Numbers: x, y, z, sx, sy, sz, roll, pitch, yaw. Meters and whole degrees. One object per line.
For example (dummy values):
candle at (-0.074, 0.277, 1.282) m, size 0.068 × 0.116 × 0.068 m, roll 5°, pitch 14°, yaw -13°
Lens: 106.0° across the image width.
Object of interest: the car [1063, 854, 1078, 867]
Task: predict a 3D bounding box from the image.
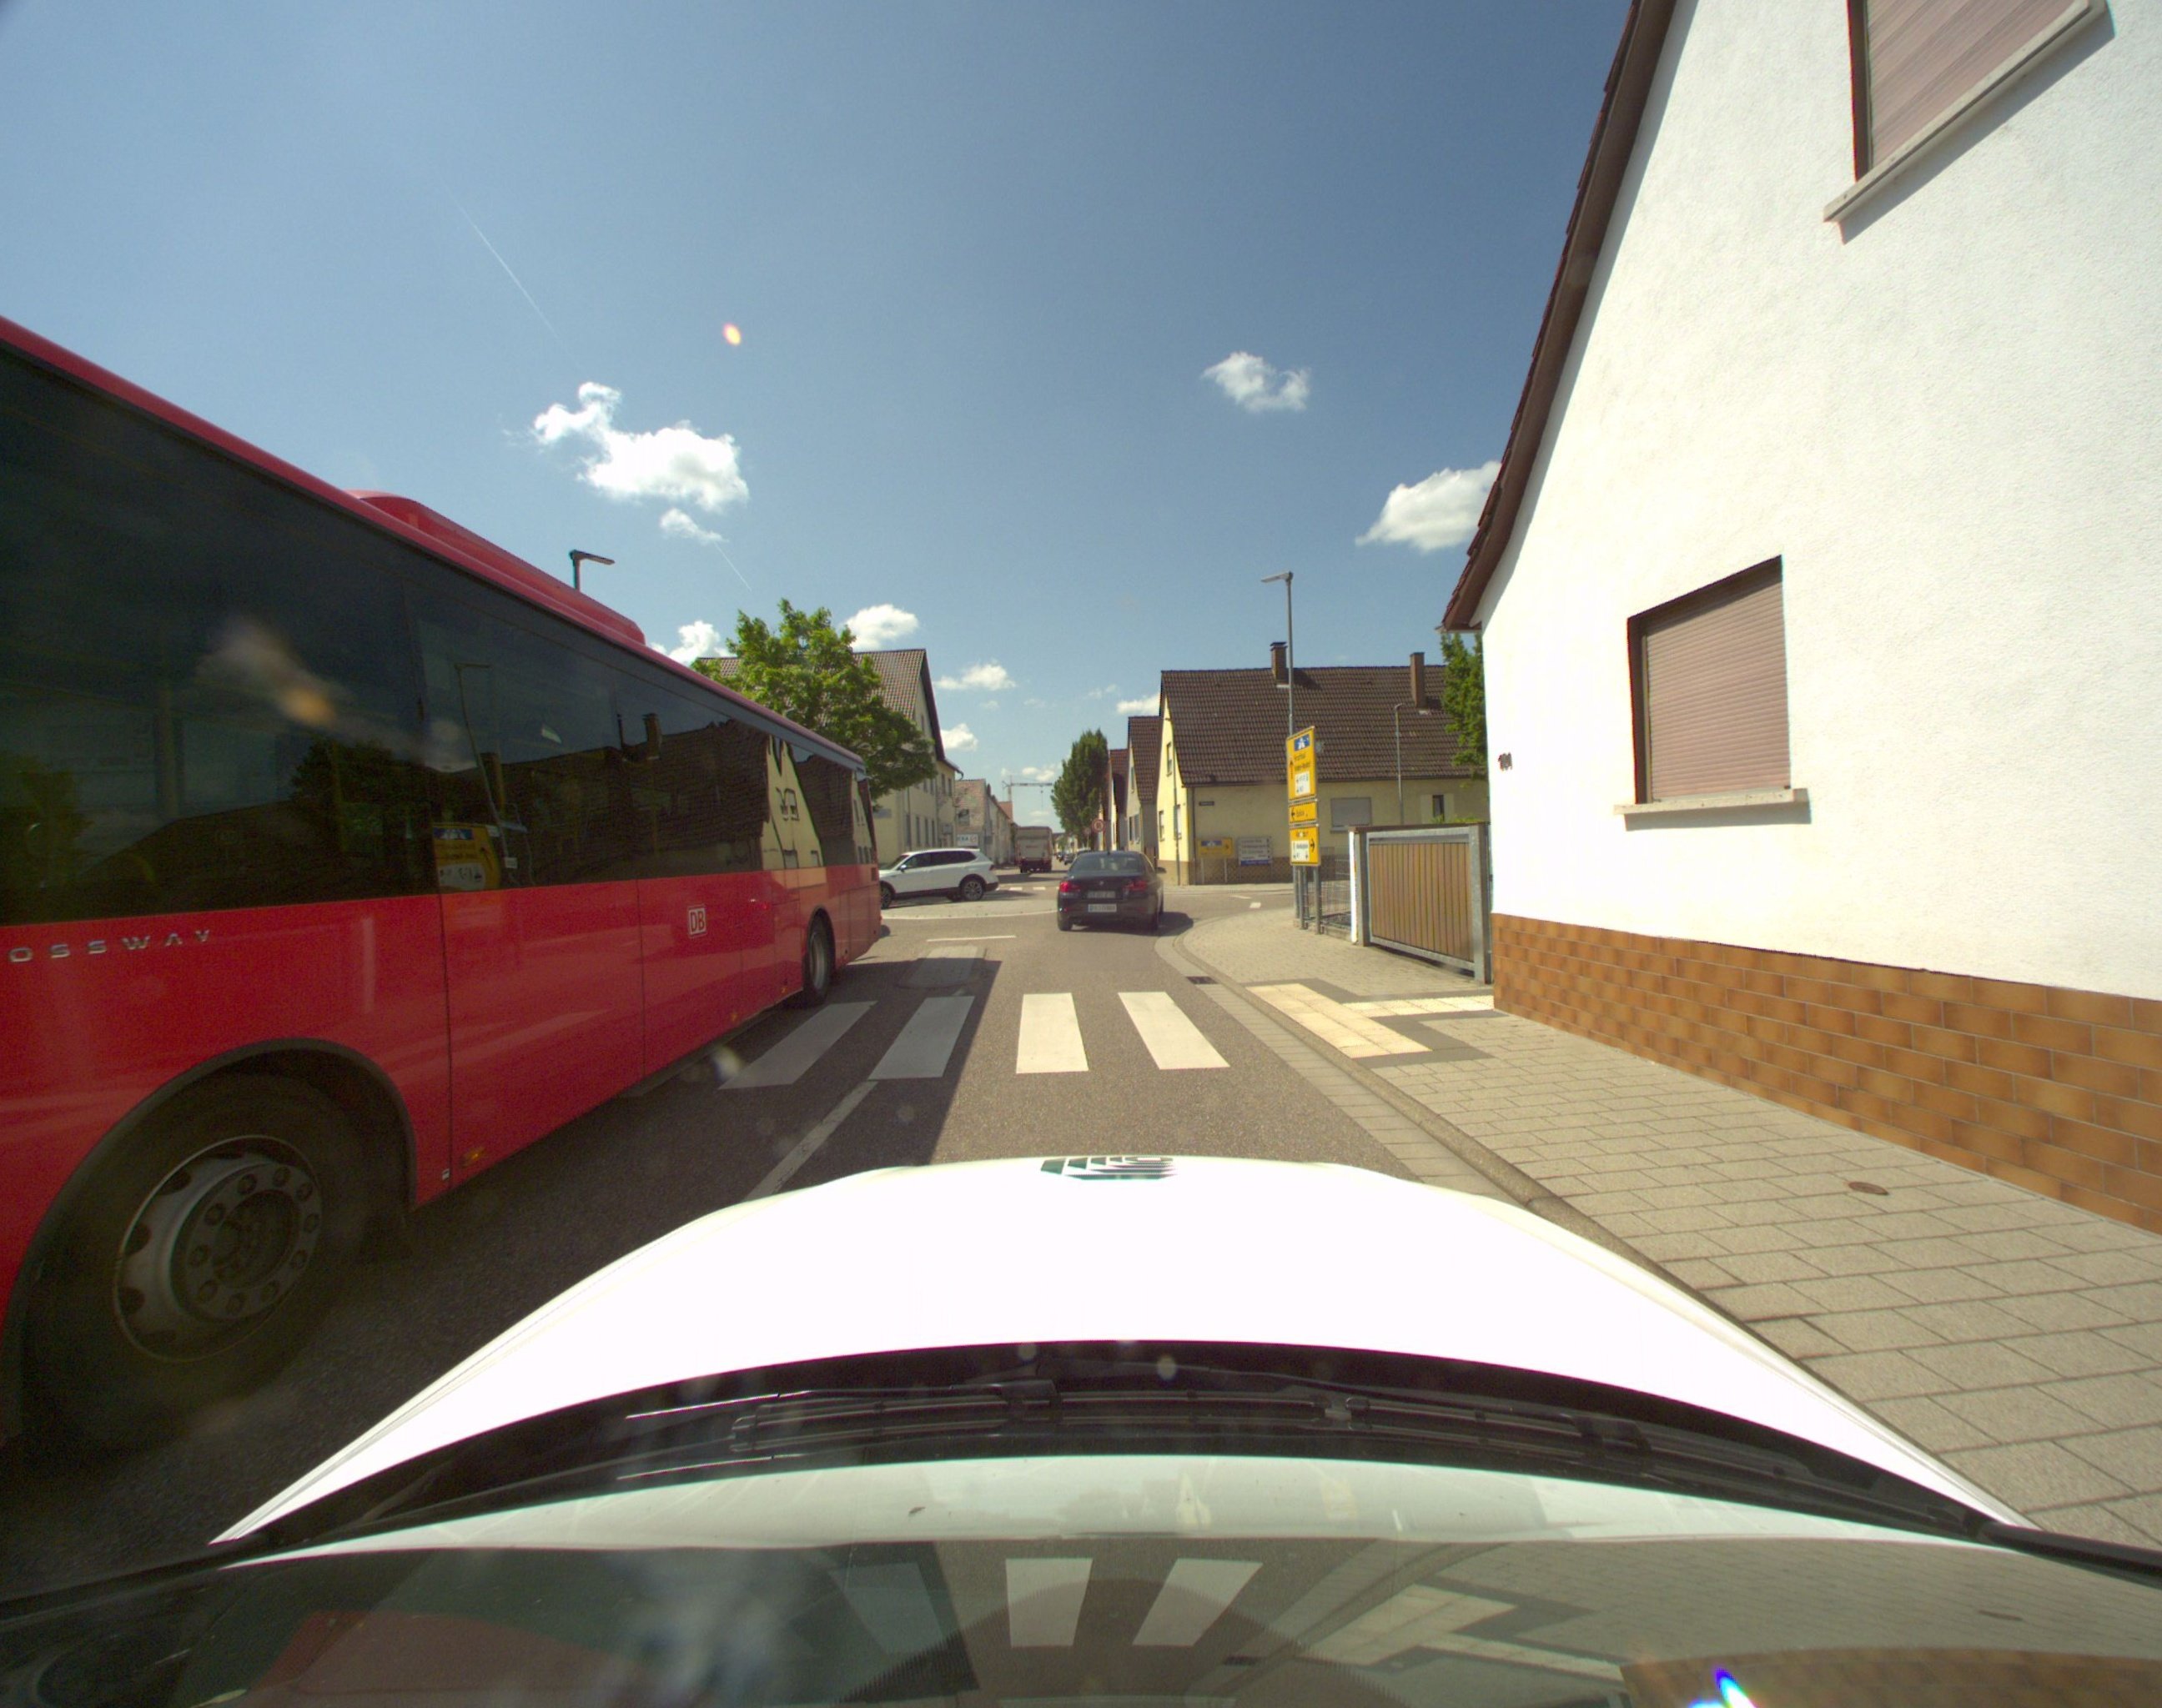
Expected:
car at (-1.298, 0.803, 98.945) m, size 1.714 × 1.461 × 4.155 m, roll -2°, pitch 0°, yaw -1°

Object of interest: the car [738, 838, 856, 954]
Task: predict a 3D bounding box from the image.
car at (-5.421, 0.692, 15.935) m, size 1.776 × 1.821 × 4.417 m, roll -4°, pitch 1°, yaw -16°

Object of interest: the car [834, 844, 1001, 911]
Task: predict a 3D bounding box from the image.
car at (-4.886, 0.644, 24.516) m, size 4.554 × 1.710 × 1.855 m, roll -2°, pitch 0°, yaw -28°

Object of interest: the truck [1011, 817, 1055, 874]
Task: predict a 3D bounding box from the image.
truck at (-3.759, -0.586, 65.642) m, size 3.136 × 4.250 × 9.297 m, roll 0°, pitch 0°, yaw -1°

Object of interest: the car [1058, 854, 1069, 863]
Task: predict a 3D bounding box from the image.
car at (-2.739, 0.681, 127.253) m, size 1.715 × 1.355 × 4.153 m, roll -2°, pitch 0°, yaw -2°

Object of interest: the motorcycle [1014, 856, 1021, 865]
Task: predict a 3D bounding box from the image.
motorcycle at (-8.452, 0.816, 108.997) m, size 0.844 × 1.170 × 2.466 m, roll 0°, pitch 0°, yaw -4°

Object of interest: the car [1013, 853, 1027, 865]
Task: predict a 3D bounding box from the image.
car at (-8.408, 0.622, 113.385) m, size 1.805 × 1.589 × 3.995 m, roll -2°, pitch 0°, yaw -3°

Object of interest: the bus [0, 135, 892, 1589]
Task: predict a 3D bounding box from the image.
bus at (-3.881, 0.020, 5.666) m, size 2.621 × 3.232 × 12.011 m, roll -4°, pitch 0°, yaw -3°

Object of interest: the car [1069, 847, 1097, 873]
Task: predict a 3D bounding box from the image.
car at (0.131, 0.422, 62.227) m, size 1.716 × 1.790 × 4.138 m, roll -4°, pitch 0°, yaw -4°

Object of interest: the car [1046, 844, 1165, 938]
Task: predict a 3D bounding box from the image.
car at (0.645, 0.628, 16.298) m, size 1.892 × 1.563 × 4.486 m, roll -2°, pitch 0°, yaw 7°

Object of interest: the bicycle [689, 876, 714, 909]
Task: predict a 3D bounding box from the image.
bicycle at (-13.409, 1.333, 28.783) m, size 0.400 × 1.003 × 1.973 m, roll -2°, pitch 2°, yaw -14°

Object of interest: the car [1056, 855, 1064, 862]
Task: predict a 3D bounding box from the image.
car at (-4.504, 0.976, 176.261) m, size 1.715 × 1.268 × 4.153 m, roll -2°, pitch 0°, yaw -2°
